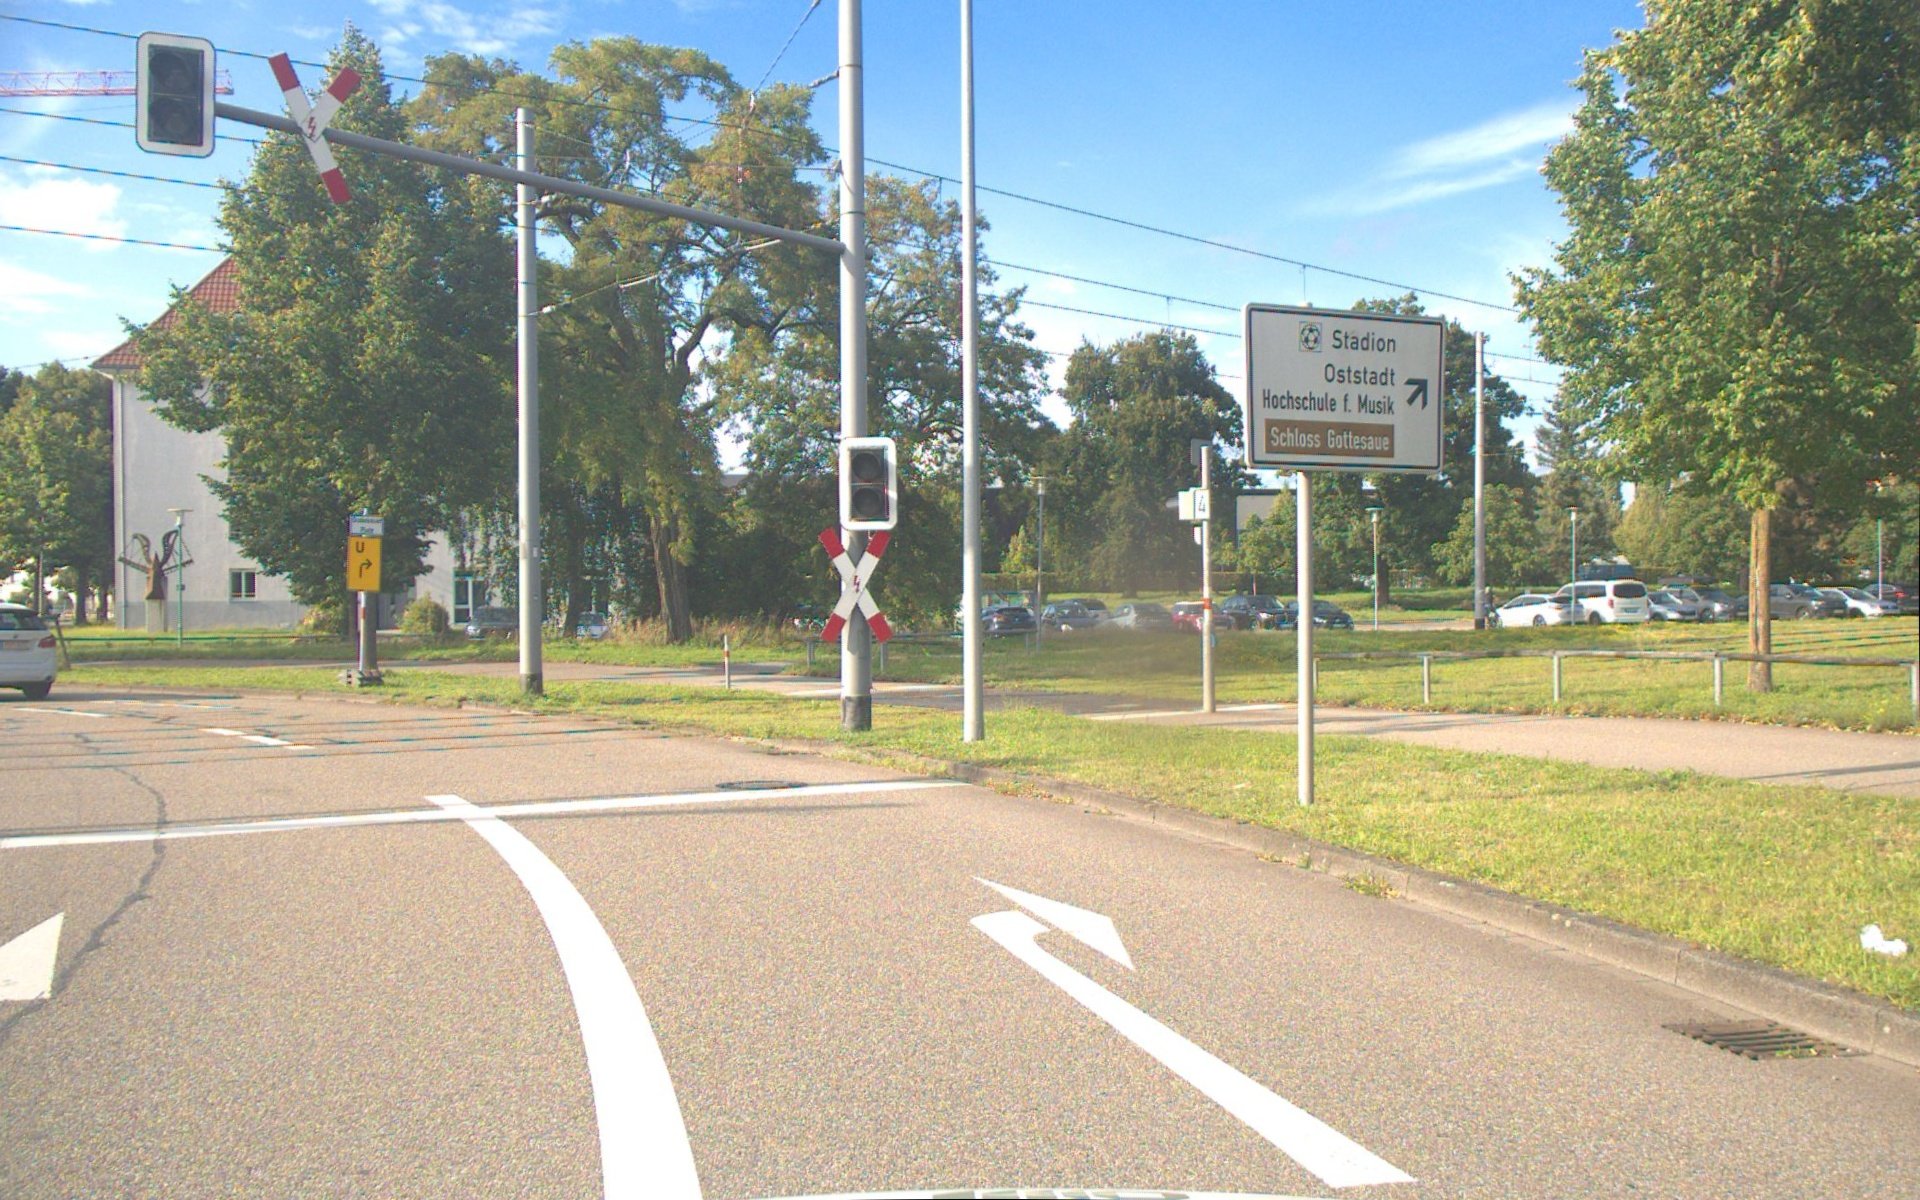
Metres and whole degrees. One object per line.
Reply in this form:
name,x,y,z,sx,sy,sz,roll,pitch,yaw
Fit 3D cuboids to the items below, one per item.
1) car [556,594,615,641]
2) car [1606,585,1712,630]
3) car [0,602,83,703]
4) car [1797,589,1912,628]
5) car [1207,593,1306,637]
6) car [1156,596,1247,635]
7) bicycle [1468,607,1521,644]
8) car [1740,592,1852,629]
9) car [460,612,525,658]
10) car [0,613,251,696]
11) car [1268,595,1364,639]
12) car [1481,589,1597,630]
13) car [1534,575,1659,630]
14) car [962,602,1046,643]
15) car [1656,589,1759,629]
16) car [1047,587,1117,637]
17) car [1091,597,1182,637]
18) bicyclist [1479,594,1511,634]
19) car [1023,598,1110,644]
car,-12.526,0.578,55.314,1.823,1.465,4.717,-1,0,-13
car,27.946,0.296,66.280,2.055,1.703,4.464,-1,0,-5
car,-16.906,0.855,27.745,4.357,1.600,1.853,0,-1,30
car,36.897,0.353,68.348,1.821,1.531,4.458,-1,0,-10
car,10.952,0.550,61.465,1.823,1.542,4.928,-1,0,-13
car,8.878,0.564,61.116,1.823,1.386,4.454,-1,0,-13
bicycle,18.920,0.887,58.495,0.702,1.243,2.510,-1,0,45
car,34.247,0.432,67.900,1.821,1.423,4.458,-1,0,-10
car,-15.281,1.109,54.241,1.823,1.405,4.500,-1,0,-13
car,-15.722,0.980,30.720,4.578,1.456,1.890,0,-1,-21
car,13.370,0.629,62.337,1.823,1.542,4.454,-1,0,-13
car,22.482,0.373,64.380,1.828,1.542,4.441,-1,0,-21
car,25.056,0.100,65.346,2.267,2.042,5.101,-1,0,-10
car,1.514,0.779,58.825,1.823,1.383,4.717,-1,0,-13
car,30.084,0.349,66.671,1.991,1.542,4.107,-1,0,-5
car,5.297,0.554,72.355,1.838,2.049,4.797,1,-2,-11
car,6.419,0.600,60.611,1.823,1.382,4.817,-1,0,-13
bicyclist,18.937,0.492,58.578,0.998,1.378,0.702,-1,0,-45
car,3.785,0.747,59.522,1.823,1.542,4.731,-1,0,-13
